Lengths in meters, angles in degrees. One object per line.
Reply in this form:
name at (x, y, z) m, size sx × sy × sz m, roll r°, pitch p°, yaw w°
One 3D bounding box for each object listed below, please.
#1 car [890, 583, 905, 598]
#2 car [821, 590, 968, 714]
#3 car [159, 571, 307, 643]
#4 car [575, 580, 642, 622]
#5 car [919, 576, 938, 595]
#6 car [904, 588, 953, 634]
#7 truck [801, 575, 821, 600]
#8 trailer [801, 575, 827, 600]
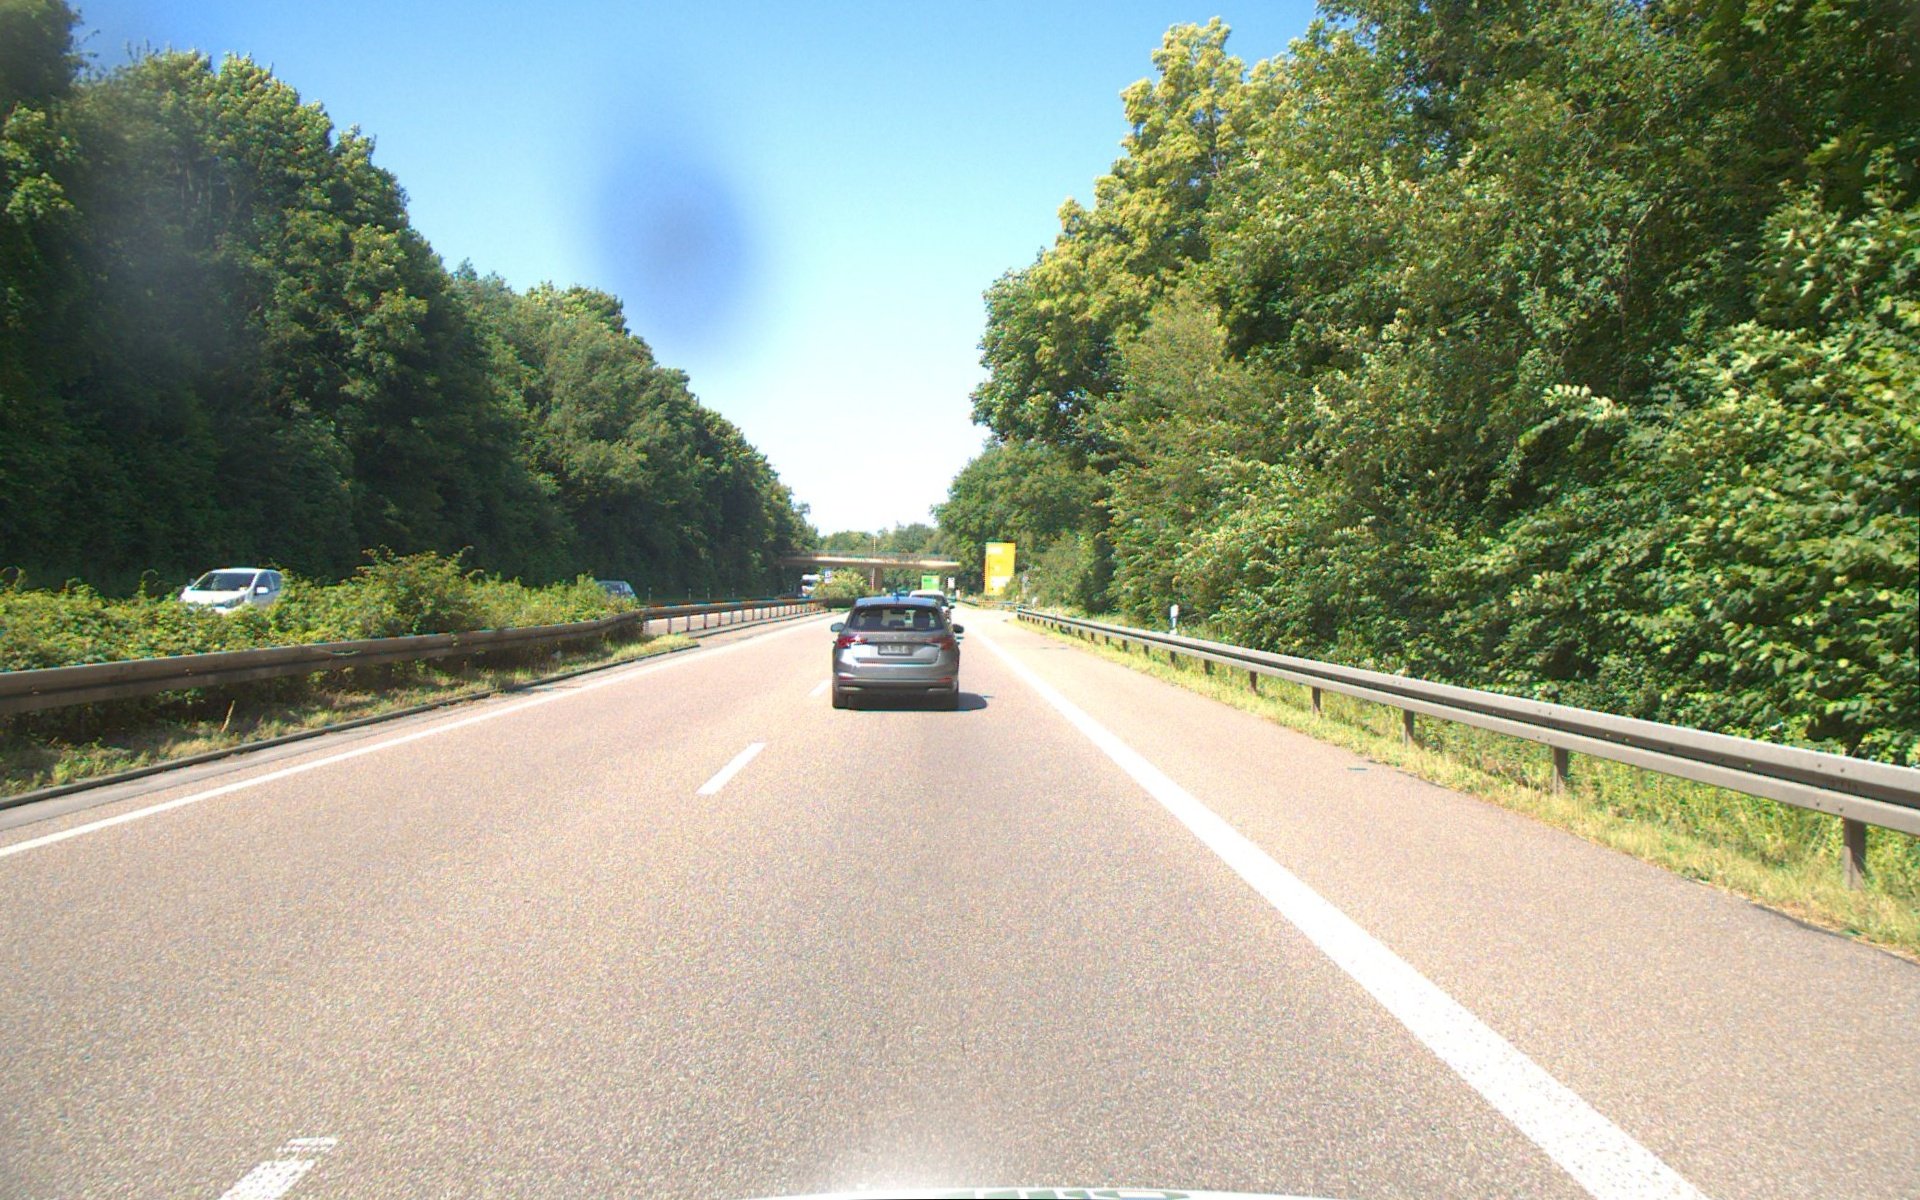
car at (-8.519, -1.261, 226.040) m, size 1.953 × 2.049 × 3.999 m, roll 1°, pitch 0°, yaw -1°
car at (-0.808, 0.640, 22.450) m, size 1.802 × 1.497 × 3.624 m, roll 1°, pitch 1°, yaw 1°
car at (-16.103, 0.144, 36.831) m, size 1.638 × 1.499 × 3.623 m, roll 1°, pitch 0°, yaw 1°
car at (-13.051, 0.022, 61.579) m, size 1.638 × 1.499 × 3.623 m, roll 1°, pitch 0°, yaw 1°
car at (-4.658, -2.072, 242.013) m, size 2.693 × 2.700 × 3.999 m, roll 1°, pitch 0°, yaw -1°
car at (-1.031, 0.349, 55.328) m, size 1.491 × 1.472 × 3.340 m, roll 1°, pitch 1°, yaw 1°
truck at (-19.877, -1.699, 220.623) m, size 2.376 × 3.315 × 3.999 m, roll 1°, pitch 0°, yaw -1°
trailer at (-19.995, -1.689, 227.823) m, size 2.442 × 3.292 × 14.429 m, roll 1°, pitch 0°, yaw -1°
